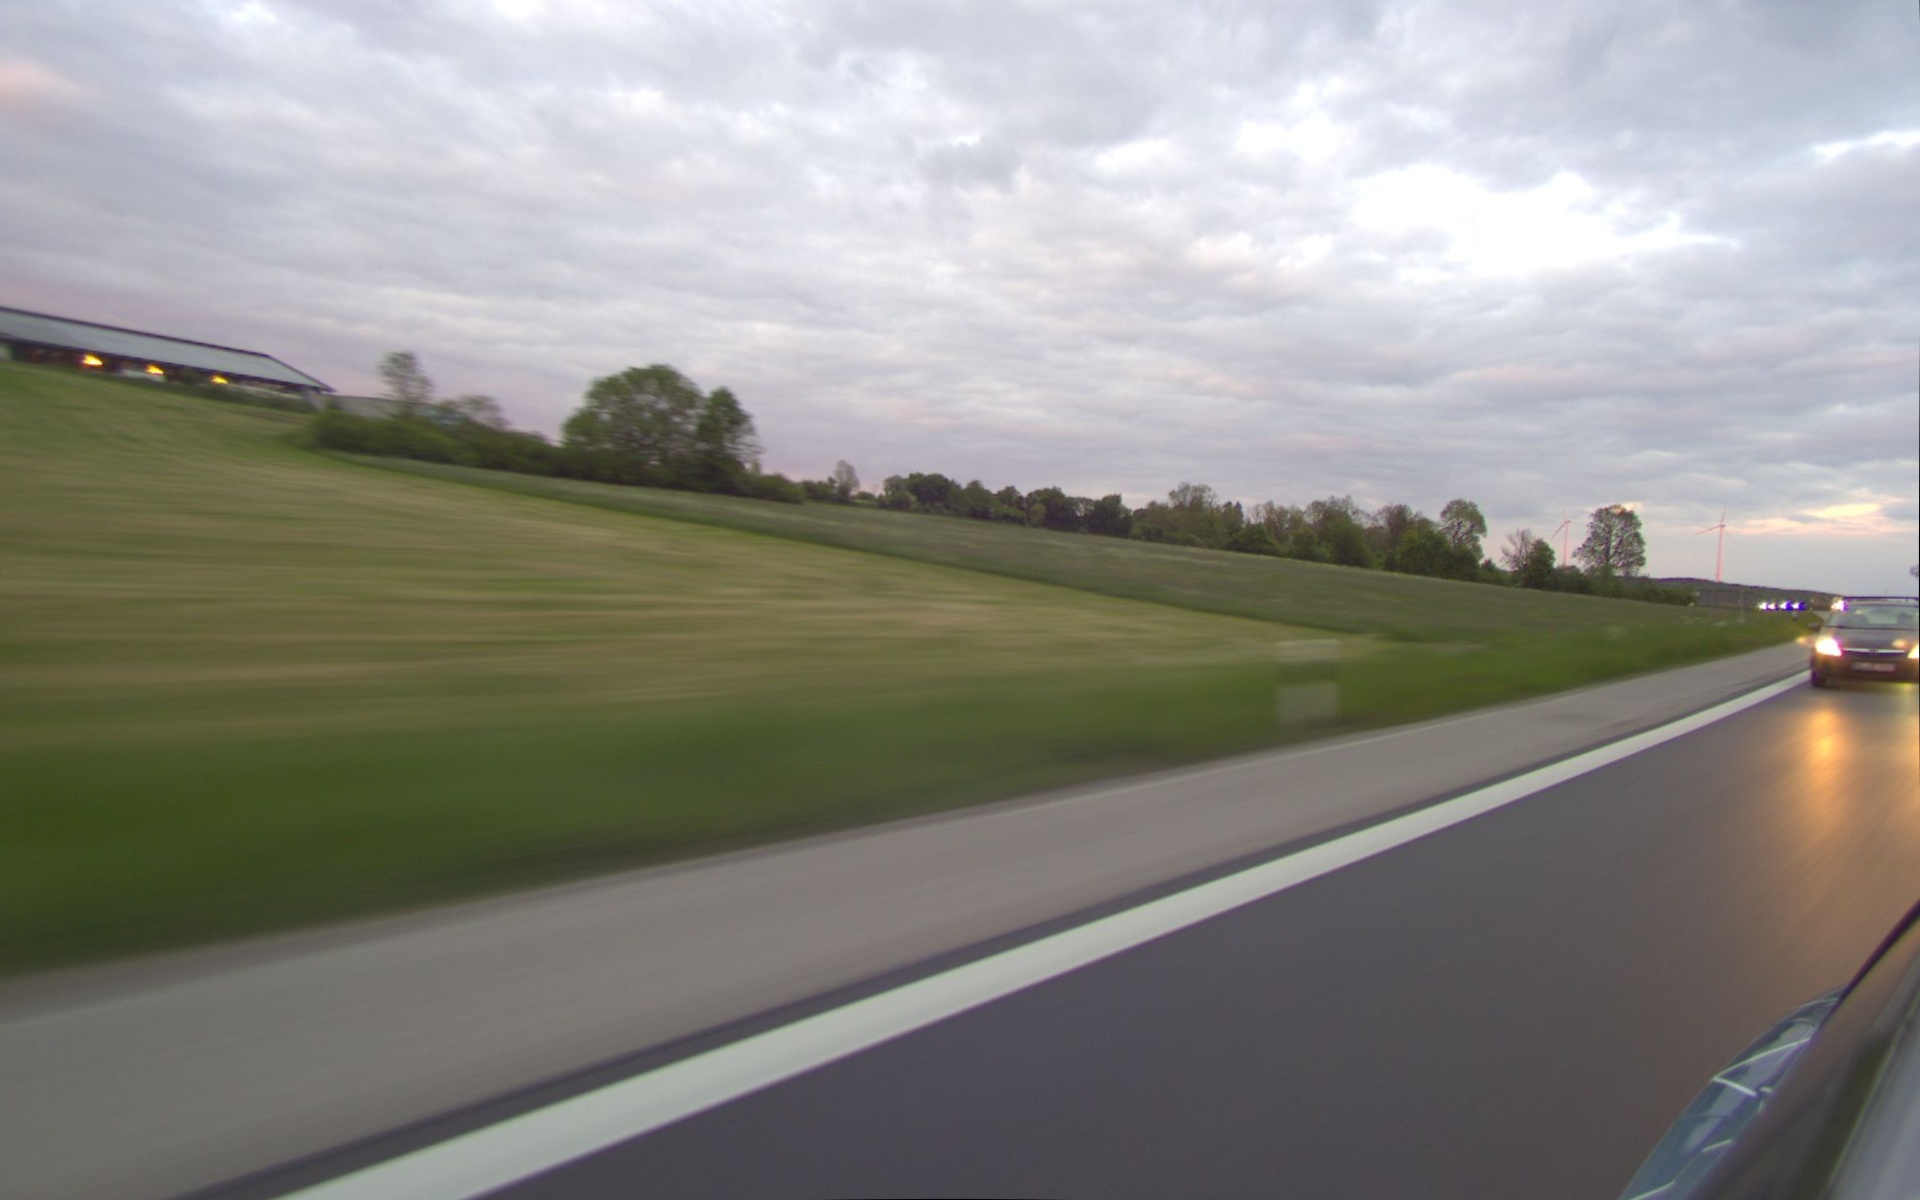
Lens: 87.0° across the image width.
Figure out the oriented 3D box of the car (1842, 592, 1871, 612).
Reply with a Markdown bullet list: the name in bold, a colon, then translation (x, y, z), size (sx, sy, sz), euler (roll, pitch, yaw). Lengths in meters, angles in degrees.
- **car**: translation (90.992, 0.205, 102.748), size (1.911, 1.860, 3.945), euler (3, 2, 38)

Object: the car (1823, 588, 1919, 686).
- **car**: translation (16.276, 0.583, 17.557), size (3.935, 1.532, 1.678), euler (0, 1, -45)

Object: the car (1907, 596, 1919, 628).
- **car**: translation (43.968, 0.554, 45.511), size (1.881, 1.413, 3.935), euler (4, 3, 45)

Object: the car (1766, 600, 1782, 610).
- **car**: translation (140.385, 0.825, 174.560), size (1.791, 1.665, 4.045), euler (1, 2, 34)

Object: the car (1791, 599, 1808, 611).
- **car**: translation (129.672, 0.782, 156.378), size (1.793, 1.665, 4.041), euler (2, 2, 36)
